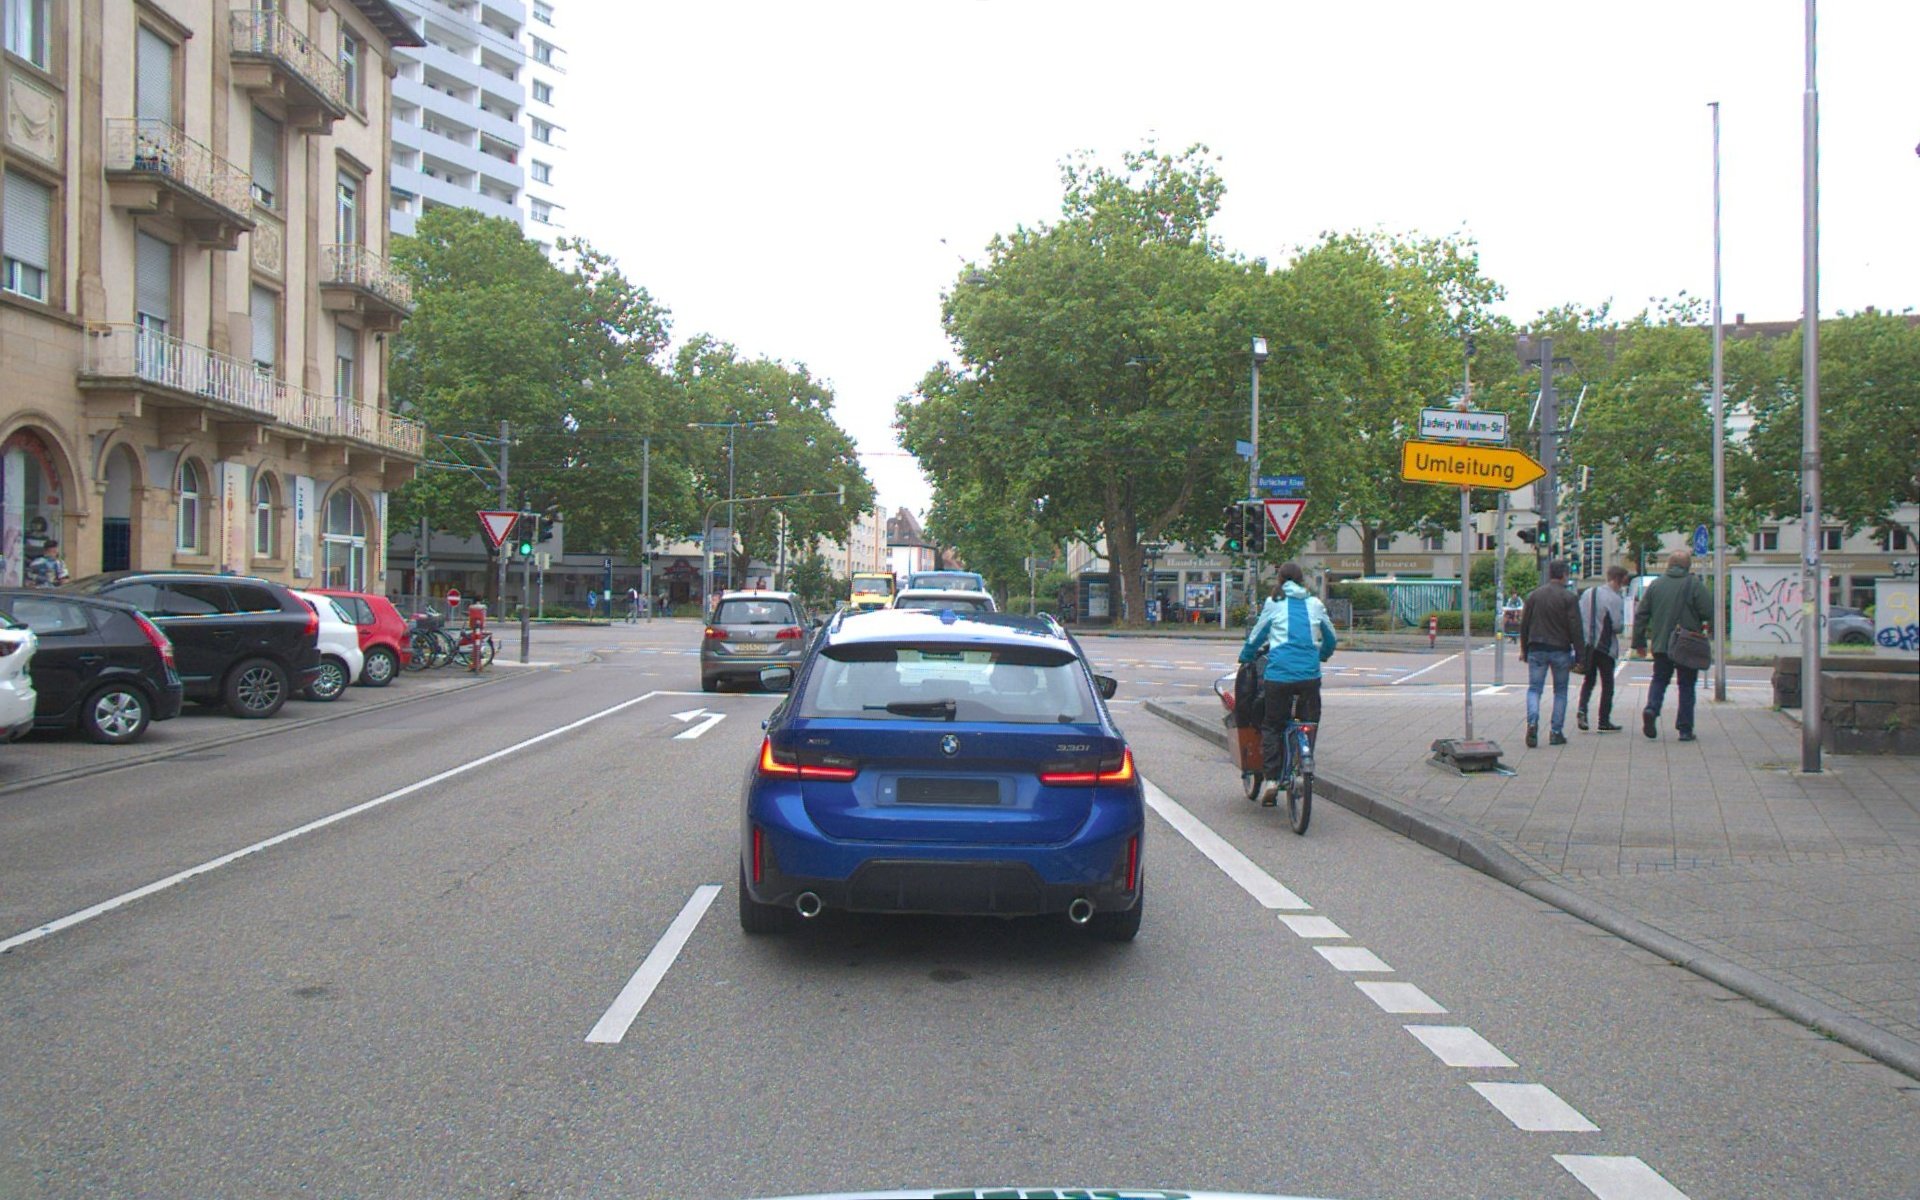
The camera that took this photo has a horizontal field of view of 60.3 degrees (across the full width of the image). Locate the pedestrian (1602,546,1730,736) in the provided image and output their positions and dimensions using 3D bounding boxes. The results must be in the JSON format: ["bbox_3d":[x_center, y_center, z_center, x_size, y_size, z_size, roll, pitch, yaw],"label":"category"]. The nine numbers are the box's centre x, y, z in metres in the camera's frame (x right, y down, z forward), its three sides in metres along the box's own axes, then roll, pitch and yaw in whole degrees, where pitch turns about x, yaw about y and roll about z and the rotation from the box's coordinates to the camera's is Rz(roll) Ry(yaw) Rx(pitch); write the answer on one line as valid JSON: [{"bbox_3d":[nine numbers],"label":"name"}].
[{"bbox_3d":[6.941,0.386,16.295,0.788,1.789,0.969,-2,0,-1],"label":"pedestrian"}]

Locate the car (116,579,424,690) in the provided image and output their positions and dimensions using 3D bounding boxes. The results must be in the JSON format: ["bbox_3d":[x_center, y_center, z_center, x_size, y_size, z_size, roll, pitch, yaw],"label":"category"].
[{"bbox_3d":[-10.352,0.515,25.038,1.653,1.498,3.978,3,0,40],"label":"car"}]

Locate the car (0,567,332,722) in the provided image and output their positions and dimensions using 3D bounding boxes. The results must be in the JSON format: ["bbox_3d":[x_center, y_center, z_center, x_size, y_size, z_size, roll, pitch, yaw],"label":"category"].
[{"bbox_3d":[-9.852,0.493,19.580,4.192,1.680,1.704,1,0,-44],"label":"car"}]

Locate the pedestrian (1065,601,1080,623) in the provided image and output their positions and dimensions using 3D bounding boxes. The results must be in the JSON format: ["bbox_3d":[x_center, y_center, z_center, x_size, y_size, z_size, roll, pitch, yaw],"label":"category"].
[{"bbox_3d":[6.984,0.725,102.746,0.835,1.337,0.762,0,0,-1],"label":"pedestrian"}]

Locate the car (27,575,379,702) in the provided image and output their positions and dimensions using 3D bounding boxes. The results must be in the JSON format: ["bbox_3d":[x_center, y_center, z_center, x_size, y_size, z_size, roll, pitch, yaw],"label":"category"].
[{"bbox_3d":[-10.065,0.540,22.187,3.968,1.498,1.540,3,0,-44],"label":"car"}]

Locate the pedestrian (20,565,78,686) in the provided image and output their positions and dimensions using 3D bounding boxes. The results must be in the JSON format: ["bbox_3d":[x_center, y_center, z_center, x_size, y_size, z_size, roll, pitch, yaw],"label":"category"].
[{"bbox_3d":[-13.877,0.380,25.204,0.555,1.816,0.551,0,0,0],"label":"pedestrian"}]

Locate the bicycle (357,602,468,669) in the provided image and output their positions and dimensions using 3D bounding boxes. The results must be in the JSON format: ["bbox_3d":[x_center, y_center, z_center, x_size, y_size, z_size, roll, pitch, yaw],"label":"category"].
[{"bbox_3d":[-10.311,0.672,31.164,1.849,1.053,0.442,6,0,-3],"label":"bicycle"}]

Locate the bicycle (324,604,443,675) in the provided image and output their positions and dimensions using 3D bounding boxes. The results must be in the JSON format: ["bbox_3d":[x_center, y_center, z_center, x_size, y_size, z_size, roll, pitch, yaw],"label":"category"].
[{"bbox_3d":[-10.217,0.698,29.332,1.849,1.053,0.442,6,0,-3],"label":"bicycle"}]

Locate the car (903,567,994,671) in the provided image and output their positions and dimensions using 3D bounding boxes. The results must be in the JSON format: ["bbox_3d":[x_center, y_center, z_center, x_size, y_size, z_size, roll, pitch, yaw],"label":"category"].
[{"bbox_3d":[-0.250,0.361,34.571,1.778,2.040,3.999,0,0,-1],"label":"car"}]

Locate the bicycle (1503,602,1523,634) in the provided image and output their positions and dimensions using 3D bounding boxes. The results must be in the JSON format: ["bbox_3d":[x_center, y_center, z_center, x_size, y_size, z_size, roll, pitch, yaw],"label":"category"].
[{"bbox_3d":[18.100,0.574,54.118,0.540,1.013,2.061,0,0,21],"label":"bicycle"}]

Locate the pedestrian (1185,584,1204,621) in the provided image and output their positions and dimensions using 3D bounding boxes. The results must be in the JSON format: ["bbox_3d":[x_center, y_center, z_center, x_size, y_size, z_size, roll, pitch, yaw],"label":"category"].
[{"bbox_3d":[11.594,0.123,81.654,0.768,1.774,0.925,0,0,-2],"label":"pedestrian"}]

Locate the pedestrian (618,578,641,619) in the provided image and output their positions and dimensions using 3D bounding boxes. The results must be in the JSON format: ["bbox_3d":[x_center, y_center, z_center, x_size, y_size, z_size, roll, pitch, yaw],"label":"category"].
[{"bbox_3d":[-14.762,-0.065,73.884,0.664,1.802,0.722,0,0,41],"label":"pedestrian"}]

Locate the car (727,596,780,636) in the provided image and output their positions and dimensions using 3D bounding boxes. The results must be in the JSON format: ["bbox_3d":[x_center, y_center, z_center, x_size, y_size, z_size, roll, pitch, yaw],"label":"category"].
[{"bbox_3d":[-7.816,0.584,62.765,1.615,1.472,3.510,0,0,-1],"label":"car"}]

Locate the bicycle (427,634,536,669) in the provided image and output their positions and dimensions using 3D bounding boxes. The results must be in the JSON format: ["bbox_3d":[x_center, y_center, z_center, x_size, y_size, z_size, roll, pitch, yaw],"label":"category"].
[{"bbox_3d":[-9.464,1.015,32.764,1.849,0.453,1.028,6,1,-3],"label":"bicycle"}]

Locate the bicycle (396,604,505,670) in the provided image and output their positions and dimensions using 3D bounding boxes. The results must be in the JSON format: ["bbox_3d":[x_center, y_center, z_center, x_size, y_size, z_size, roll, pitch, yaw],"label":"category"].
[{"bbox_3d":[-9.768,0.713,31.720,1.849,1.053,0.442,6,0,-3],"label":"bicycle"}]

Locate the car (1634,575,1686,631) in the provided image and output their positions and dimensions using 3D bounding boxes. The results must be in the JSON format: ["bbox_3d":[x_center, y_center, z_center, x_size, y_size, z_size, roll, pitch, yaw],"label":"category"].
[{"bbox_3d":[34.951,0.148,82.507,2.191,2.685,5.443,0,0,25],"label":"car"}]

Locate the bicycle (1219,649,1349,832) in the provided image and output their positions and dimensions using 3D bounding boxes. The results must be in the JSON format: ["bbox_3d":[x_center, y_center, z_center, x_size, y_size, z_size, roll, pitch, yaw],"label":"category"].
[{"bbox_3d":[2.284,0.953,11.890,0.484,1.117,2.138,0,0,-1],"label":"bicycle"}]

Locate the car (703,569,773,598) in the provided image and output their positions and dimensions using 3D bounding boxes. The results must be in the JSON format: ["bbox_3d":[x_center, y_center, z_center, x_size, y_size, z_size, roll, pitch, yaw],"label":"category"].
[{"bbox_3d":[-14.075,-1.022,105.043,3.953,1.736,1.976,1,-1,-35],"label":"car"}]

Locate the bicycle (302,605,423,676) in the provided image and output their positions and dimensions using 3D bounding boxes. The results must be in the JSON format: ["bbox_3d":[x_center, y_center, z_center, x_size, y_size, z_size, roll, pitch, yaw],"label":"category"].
[{"bbox_3d":[-10.293,0.698,28.515,1.848,1.053,0.442,5,0,2],"label":"bicycle"}]

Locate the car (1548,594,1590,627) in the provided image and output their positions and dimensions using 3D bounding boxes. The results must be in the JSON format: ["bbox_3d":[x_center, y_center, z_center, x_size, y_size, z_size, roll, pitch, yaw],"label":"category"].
[{"bbox_3d":[29.794,0.494,80.885,1.632,1.542,3.935,1,0,25],"label":"car"}]

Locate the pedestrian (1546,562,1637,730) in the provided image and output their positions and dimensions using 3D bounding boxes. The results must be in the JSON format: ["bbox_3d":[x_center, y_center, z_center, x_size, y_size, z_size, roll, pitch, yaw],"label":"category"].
[{"bbox_3d":[6.647,0.470,17.450,0.619,1.702,0.970,-2,0,6],"label":"pedestrian"}]

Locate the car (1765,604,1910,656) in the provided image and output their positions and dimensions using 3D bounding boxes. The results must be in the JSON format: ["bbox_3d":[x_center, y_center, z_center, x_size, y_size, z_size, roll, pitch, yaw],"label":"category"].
[{"bbox_3d":[27.750,0.935,52.435,3.895,1.589,1.687,0,0,22],"label":"car"}]

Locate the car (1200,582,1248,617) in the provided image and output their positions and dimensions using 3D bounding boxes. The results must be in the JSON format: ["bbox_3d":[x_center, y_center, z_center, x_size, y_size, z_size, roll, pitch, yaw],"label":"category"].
[{"bbox_3d":[17.211,-0.050,107.631,2.130,2.239,3.998,0,0,23],"label":"car"}]

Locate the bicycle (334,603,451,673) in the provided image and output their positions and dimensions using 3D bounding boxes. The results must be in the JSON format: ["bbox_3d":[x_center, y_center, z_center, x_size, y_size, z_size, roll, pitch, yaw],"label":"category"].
[{"bbox_3d":[-10.238,0.679,29.868,1.849,1.053,0.442,6,0,-3],"label":"bicycle"}]

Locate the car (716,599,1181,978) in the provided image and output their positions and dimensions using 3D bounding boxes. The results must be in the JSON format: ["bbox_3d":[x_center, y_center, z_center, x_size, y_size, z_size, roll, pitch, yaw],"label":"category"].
[{"bbox_3d":[-0.072,0.725,8.507,1.778,1.430,4.319,0,0,-1],"label":"car"}]

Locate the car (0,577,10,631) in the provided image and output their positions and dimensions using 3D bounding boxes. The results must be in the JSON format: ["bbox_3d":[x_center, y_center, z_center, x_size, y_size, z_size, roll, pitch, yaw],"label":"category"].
[{"bbox_3d":[-15.605,0.053,25.383,0.894,0.849,2.014,1,0,-1],"label":"car"}]

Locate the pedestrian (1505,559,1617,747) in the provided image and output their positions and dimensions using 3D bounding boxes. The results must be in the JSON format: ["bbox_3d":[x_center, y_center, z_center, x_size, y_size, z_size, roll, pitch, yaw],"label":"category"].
[{"bbox_3d":[5.710,0.483,15.757,0.660,1.715,0.969,-2,0,-1],"label":"pedestrian"}]

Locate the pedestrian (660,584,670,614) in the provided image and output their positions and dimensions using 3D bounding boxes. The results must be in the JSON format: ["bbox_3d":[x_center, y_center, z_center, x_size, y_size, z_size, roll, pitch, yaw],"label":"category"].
[{"bbox_3d":[-17.511,-0.049,98.189,0.561,1.802,0.513,0,0,-13],"label":"pedestrian"}]

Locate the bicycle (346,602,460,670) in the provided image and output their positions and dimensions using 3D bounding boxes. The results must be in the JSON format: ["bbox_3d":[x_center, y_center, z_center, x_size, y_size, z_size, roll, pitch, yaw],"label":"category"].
[{"bbox_3d":[-10.266,0.656,30.529,1.849,1.053,0.442,6,0,-3],"label":"bicycle"}]

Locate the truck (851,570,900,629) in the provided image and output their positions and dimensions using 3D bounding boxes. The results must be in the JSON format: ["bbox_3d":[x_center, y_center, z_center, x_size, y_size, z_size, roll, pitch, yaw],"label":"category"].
[{"bbox_3d":[-3.684,-0.034,72.277,2.033,2.450,5.459,0,0,-3],"label":"truck"}]

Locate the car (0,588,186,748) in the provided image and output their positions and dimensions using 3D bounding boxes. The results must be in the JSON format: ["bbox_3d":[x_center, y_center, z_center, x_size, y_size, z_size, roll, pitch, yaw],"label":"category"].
[{"bbox_3d":[-9.940,0.638,16.231,3.959,1.521,1.708,1,0,-39],"label":"car"}]

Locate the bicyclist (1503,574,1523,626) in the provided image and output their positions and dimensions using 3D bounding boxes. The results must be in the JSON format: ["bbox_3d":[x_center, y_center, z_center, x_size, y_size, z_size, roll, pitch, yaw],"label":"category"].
[{"bbox_3d":[18.098,0.014,54.096,0.601,1.683,0.754,0,0,20],"label":"bicyclist"}]

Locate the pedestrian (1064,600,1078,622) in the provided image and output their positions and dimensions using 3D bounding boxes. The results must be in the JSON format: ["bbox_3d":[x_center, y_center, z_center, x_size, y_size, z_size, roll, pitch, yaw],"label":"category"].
[{"bbox_3d":[6.954,0.699,103.692,0.801,1.396,0.762,0,0,-1],"label":"pedestrian"}]

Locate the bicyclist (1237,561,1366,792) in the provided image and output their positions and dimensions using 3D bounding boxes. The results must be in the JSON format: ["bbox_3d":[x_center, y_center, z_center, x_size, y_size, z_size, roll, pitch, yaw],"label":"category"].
[{"bbox_3d":[2.377,0.512,11.620,0.672,1.544,1.058,0,0,-1],"label":"bicyclist"}]

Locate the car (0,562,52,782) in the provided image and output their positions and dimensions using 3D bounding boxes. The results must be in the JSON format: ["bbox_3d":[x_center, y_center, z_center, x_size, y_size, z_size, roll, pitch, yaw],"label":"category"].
[{"bbox_3d":[-9.594,0.532,13.222,3.937,1.754,1.826,1,0,-26],"label":"car"}]

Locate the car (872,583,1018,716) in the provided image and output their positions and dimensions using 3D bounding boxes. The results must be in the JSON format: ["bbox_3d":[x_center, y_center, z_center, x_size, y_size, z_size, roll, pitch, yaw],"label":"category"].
[{"bbox_3d":[-0.211,0.598,22.290,1.778,1.620,3.999,0,0,-1],"label":"car"}]

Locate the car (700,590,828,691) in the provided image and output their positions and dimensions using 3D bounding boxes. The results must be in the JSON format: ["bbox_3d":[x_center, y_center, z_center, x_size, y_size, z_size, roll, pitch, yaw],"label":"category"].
[{"bbox_3d":[-3.177,0.617,27.492,1.697,1.551,3.999,0,0,-1],"label":"car"}]
